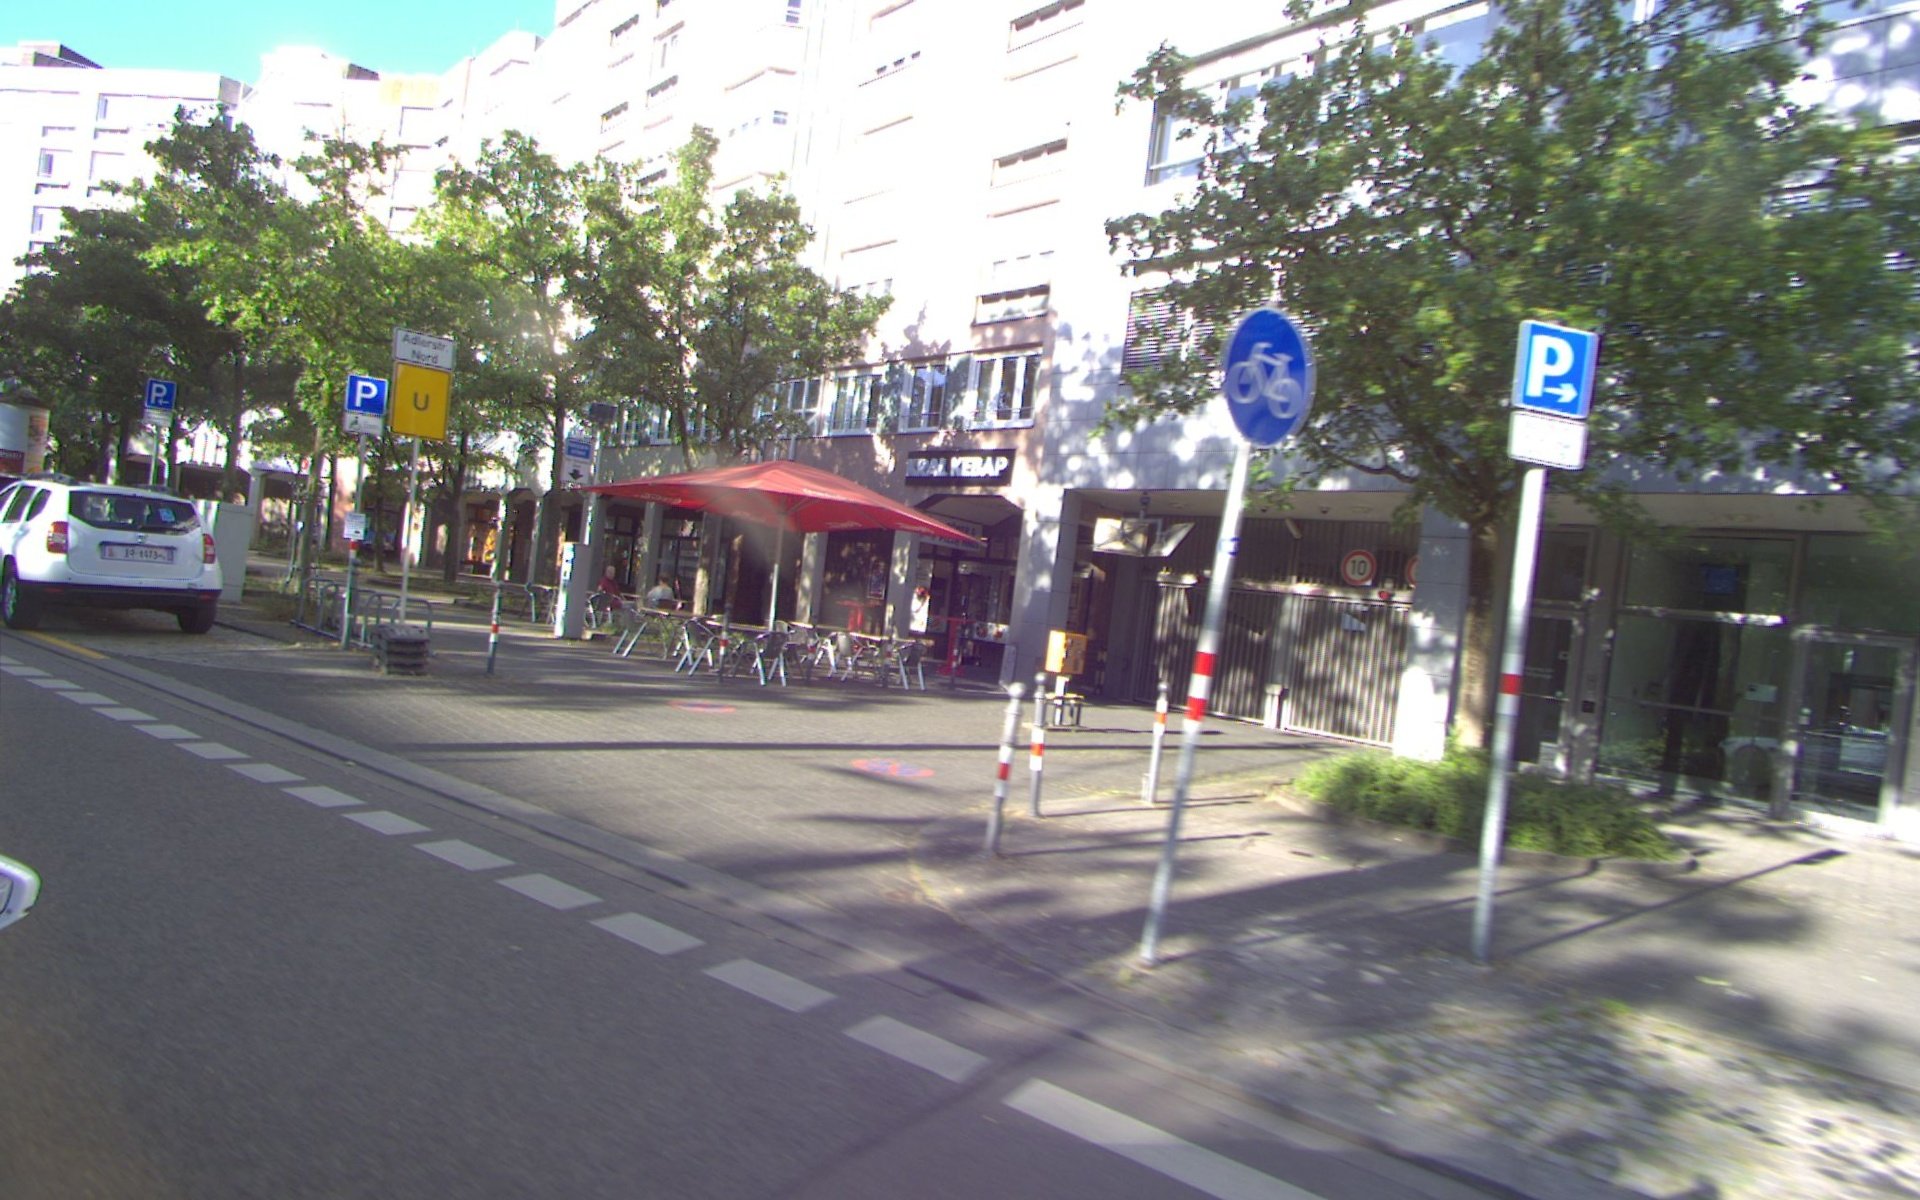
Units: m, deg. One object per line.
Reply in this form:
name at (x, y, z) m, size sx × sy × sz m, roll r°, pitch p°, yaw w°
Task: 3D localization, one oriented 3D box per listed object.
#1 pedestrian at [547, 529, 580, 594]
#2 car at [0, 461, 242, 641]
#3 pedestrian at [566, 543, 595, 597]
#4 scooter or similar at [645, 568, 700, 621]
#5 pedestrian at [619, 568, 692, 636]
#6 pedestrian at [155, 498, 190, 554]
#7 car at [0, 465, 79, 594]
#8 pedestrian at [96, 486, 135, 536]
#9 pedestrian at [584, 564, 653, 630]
pedestrian at (-14.703, -1.426, 37.286) m, size 0.720 × 2.275 × 0.796 m, roll 7°, pitch 0°, yaw -37°
car at (-10.616, -0.671, 12.048) m, size 4.388 × 1.747 × 1.798 m, roll 7°, pitch 2°, yaw 34°
pedestrian at (-13.879, -1.099, 36.776) m, size 0.717 × 1.895 × 0.886 m, roll 7°, pitch 0°, yaw -28°
scooter or similar at (-7.766, -0.157, 27.145) m, size 1.343 × 1.270 × 0.665 m, roll 7°, pitch 0°, yaw 40°
pedestrian at (-6.340, 0.043, 20.941) m, size 1.108 × 1.227 × 0.884 m, roll 7°, pitch 0°, yaw 43°
pedestrian at (-29.868, -2.797, 38.146) m, size 0.763 × 2.005 × 0.640 m, roll 7°, pitch 0°, yaw 30°
car at (-15.258, -1.241, 15.181) m, size 4.501 × 1.747 × 1.798 m, roll 7°, pitch 2°, yaw 34°
pedestrian at (-36.872, -3.900, 43.936) m, size 0.832 × 2.005 × 0.818 m, roll 7°, pitch 0°, yaw 18°
pedestrian at (-7.397, -0.060, 21.802) m, size 0.953 × 1.265 × 0.929 m, roll 7°, pitch 0°, yaw 36°
